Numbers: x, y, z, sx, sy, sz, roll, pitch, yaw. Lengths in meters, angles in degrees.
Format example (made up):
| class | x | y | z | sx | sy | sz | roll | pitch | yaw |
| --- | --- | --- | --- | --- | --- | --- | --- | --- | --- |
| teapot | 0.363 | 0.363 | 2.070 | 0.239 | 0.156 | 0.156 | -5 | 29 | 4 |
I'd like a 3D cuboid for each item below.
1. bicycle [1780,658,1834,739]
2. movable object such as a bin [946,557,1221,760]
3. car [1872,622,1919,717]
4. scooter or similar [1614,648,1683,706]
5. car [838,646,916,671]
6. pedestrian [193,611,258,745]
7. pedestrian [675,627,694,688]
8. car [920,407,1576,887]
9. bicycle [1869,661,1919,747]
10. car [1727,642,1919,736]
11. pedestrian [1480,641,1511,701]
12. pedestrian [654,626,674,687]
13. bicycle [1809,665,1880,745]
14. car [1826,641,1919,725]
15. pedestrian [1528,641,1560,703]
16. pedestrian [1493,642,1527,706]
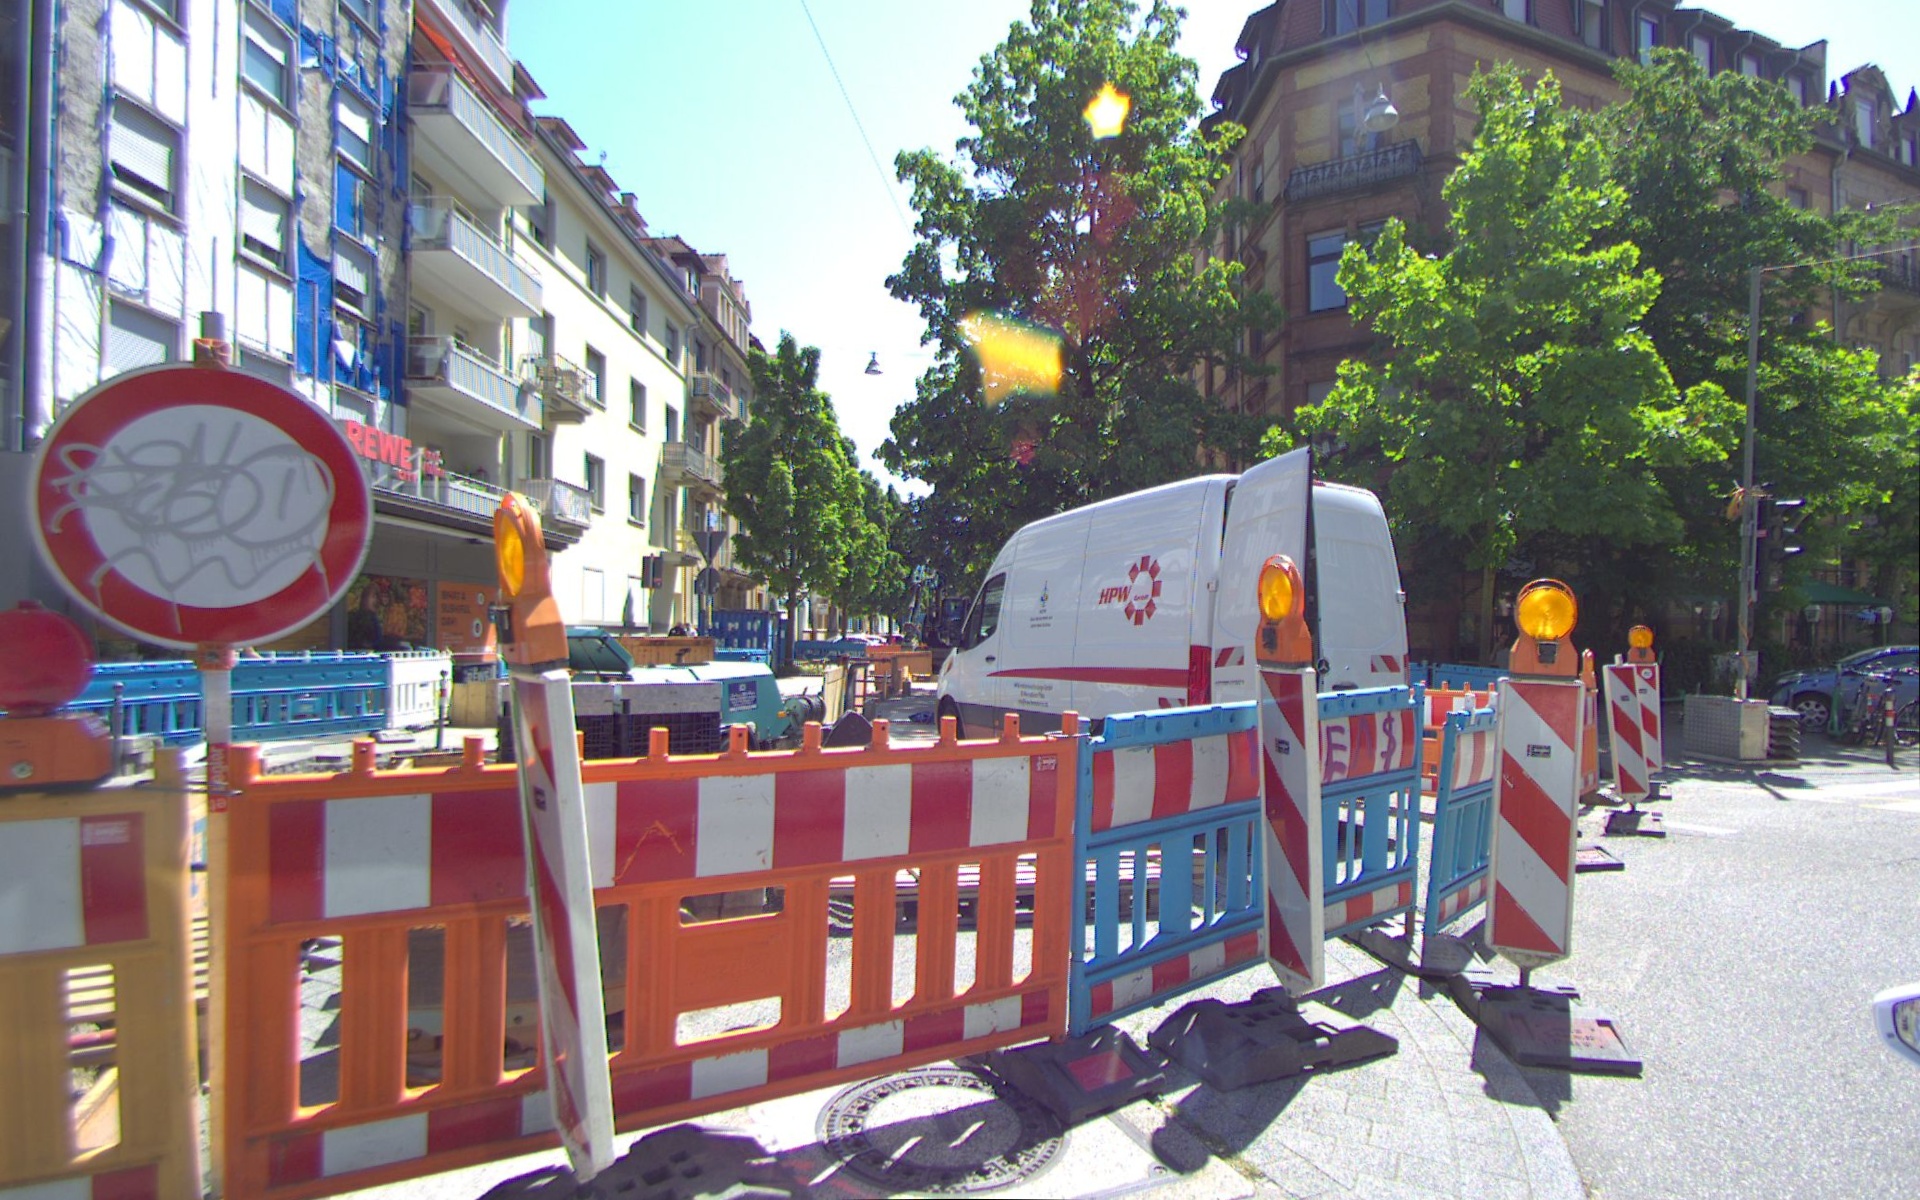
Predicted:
| class | x | y | z | sx | sy | sz | roll | pitch | yaw |
| --- | --- | --- | --- | --- | --- | --- | --- | --- | --- |
| bicycle | 13.279 | 1.514 | 15.731 | 1.606 | 1.172 | 0.335 | 1 | 0 | -38 |
| movable object such as a bin | 1.741 | 0.792 | 15.777 | 1.932 | 2.694 | 4.521 | 1 | 0 | -30 |
| car | 20.297 | 1.377 | 19.274 | 3.935 | 1.828 | 1.763 | 0 | -1 | 36 |
| scooter or similar | 13.815 | 1.532 | 20.152 | 1.446 | 1.136 | 0.278 | 1 | 1 | -17 |
| car | -4.343 | 3.060 | 52.726 | 3.921 | 1.280 | 1.628 | 0 | -2 | 1 |
| pedestrian | -9.781 | 1.027 | 13.382 | 0.578 | 1.737 | 0.391 | -1 | -2 | 14 |
| pedestrian | -9.270 | 1.922 | 33.784 | 0.495 | 2.040 | 0.446 | 0 | -2 | 0 |
| car | 1.809 | 0.420 | 9.365 | 2.345 | 2.787 | 6.611 | 1 | -3 | -22 |
| bicycle | 14.260 | 1.545 | 15.214 | 1.670 | 1.189 | 0.486 | 1 | 0 | -40 |
| car | 15.686 | 1.500 | 17.243 | 3.935 | 1.394 | 1.993 | 0 | -1 | 37 |
| pedestrian | 11.264 | 1.474 | 21.126 | 0.548 | 1.236 | 0.597 | -1 | -2 | 31 |
| pedestrian | -9.916 | 1.896 | 33.682 | 0.535 | 2.040 | 0.413 | 0 | -2 | 0 |
| bicycle | 13.595 | 1.579 | 15.421 | 1.882 | 1.096 | 0.487 | 1 | 0 | -38 |
| car | 18.313 | 1.516 | 18.043 | 3.932 | 1.431 | 1.966 | 0 | -1 | 34 |
| pedestrian | 11.863 | 1.454 | 20.409 | 0.548 | 1.236 | 0.597 | -1 | -2 | 31 |
| pedestrian | 10.959 | 1.456 | 20.005 | 0.548 | 1.236 | 0.597 | -1 | -2 | 31 |
